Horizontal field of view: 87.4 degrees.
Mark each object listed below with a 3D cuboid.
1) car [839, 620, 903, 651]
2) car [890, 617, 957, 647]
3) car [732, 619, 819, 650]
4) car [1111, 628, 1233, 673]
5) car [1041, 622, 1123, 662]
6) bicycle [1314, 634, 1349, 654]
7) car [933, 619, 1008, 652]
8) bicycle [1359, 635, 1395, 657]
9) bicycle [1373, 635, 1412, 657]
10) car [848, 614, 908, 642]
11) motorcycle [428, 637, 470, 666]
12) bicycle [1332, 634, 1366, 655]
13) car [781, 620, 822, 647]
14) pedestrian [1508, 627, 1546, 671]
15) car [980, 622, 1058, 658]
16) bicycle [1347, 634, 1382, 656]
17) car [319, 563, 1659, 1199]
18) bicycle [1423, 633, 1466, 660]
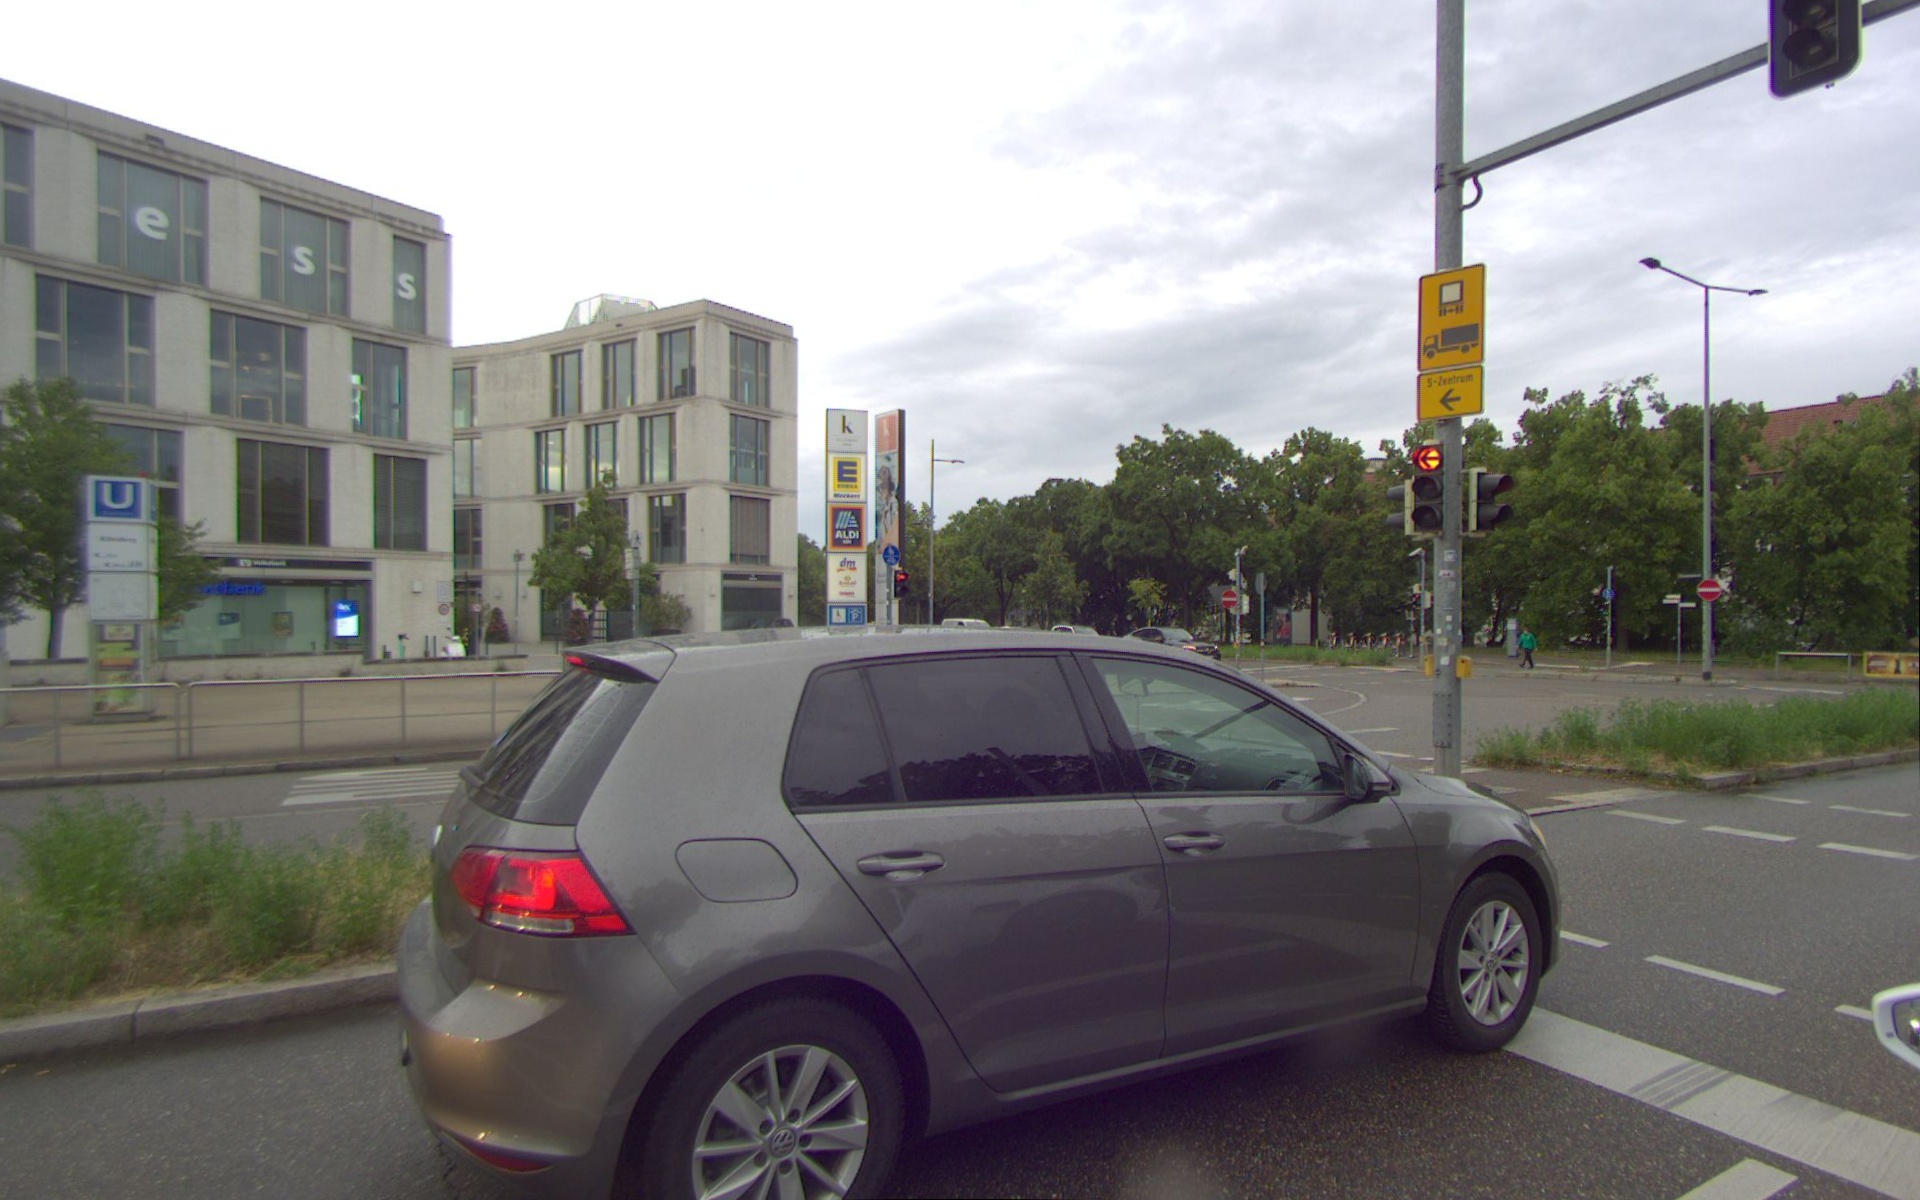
[{"bbox_3d":[-5.336,2.109,59.689,1.976,1.615,4.855,2,0,-29],"label":"car"},{"bbox_3d":[-2.264,1.884,60.384,1.976,1.615,4.855,2,0,-29],"label":"car"},{"bbox_3d":[-9.193,1.715,50.309,1.968,1.483,3.985,0,-2,37],"label":"car"},{"bbox_3d":[8.389,1.963,40.232,1.976,1.520,5.001,2,0,-29],"label":"car"},{"bbox_3d":[5.550,1.907,46.018,1.976,1.615,3.536,2,0,-30],"label":"car"},{"bbox_3d":[20.261,2.400,54.756,1.959,1.085,0.649,2,0,-30],"label":"bicycle"},{"bbox_3d":[0.525,1.943,55.396,1.976,1.615,4.855,2,0,-29],"label":"car"},{"bbox_3d":[21.666,2.392,52.166,1.959,1.085,0.649,2,0,-30],"label":"bicycle"},{"bbox_3d":[22.236,2.358,51.642,1.959,1.085,0.798,2,0,-30],"label":"bicycle"},{"bbox_3d":[-5.466,1.814,66.104,1.977,1.615,4.852,2,0,-31],"label":"car"},{"bbox_3d":[-14.199,1.419,27.922,1.081,0.750,0.522,2,0,29],"label":"motorcycle"},{"bbox_3d":[20.931,2.386,54.027,1.959,1.085,0.649,2,0,-30],"label":"bicycle"},{"bbox_3d":[-12.710,2.662,80.591,1.976,2.040,3.969,1,-1,-29],"label":"car"},{"bbox_3d":[22.891,1.972,40.547,0.932,1.750,0.921,2,0,-22],"label":"pedestrian"},{"bbox_3d":[2.944,1.993,50.887,1.976,1.615,4.185,2,0,-29],"label":"car"},{"bbox_3d":[21.365,2.375,53.026,1.959,1.085,0.649,2,0,-30],"label":"bicycle"},{"bbox_3d":[0.372,0.751,3.536,4.325,1.501,1.807,2,-1,-30],"label":"car"},{"bbox_3d":[23.752,2.284,49.254,1.959,1.266,0.986,2,0,-30],"label":"bicycle"}]
